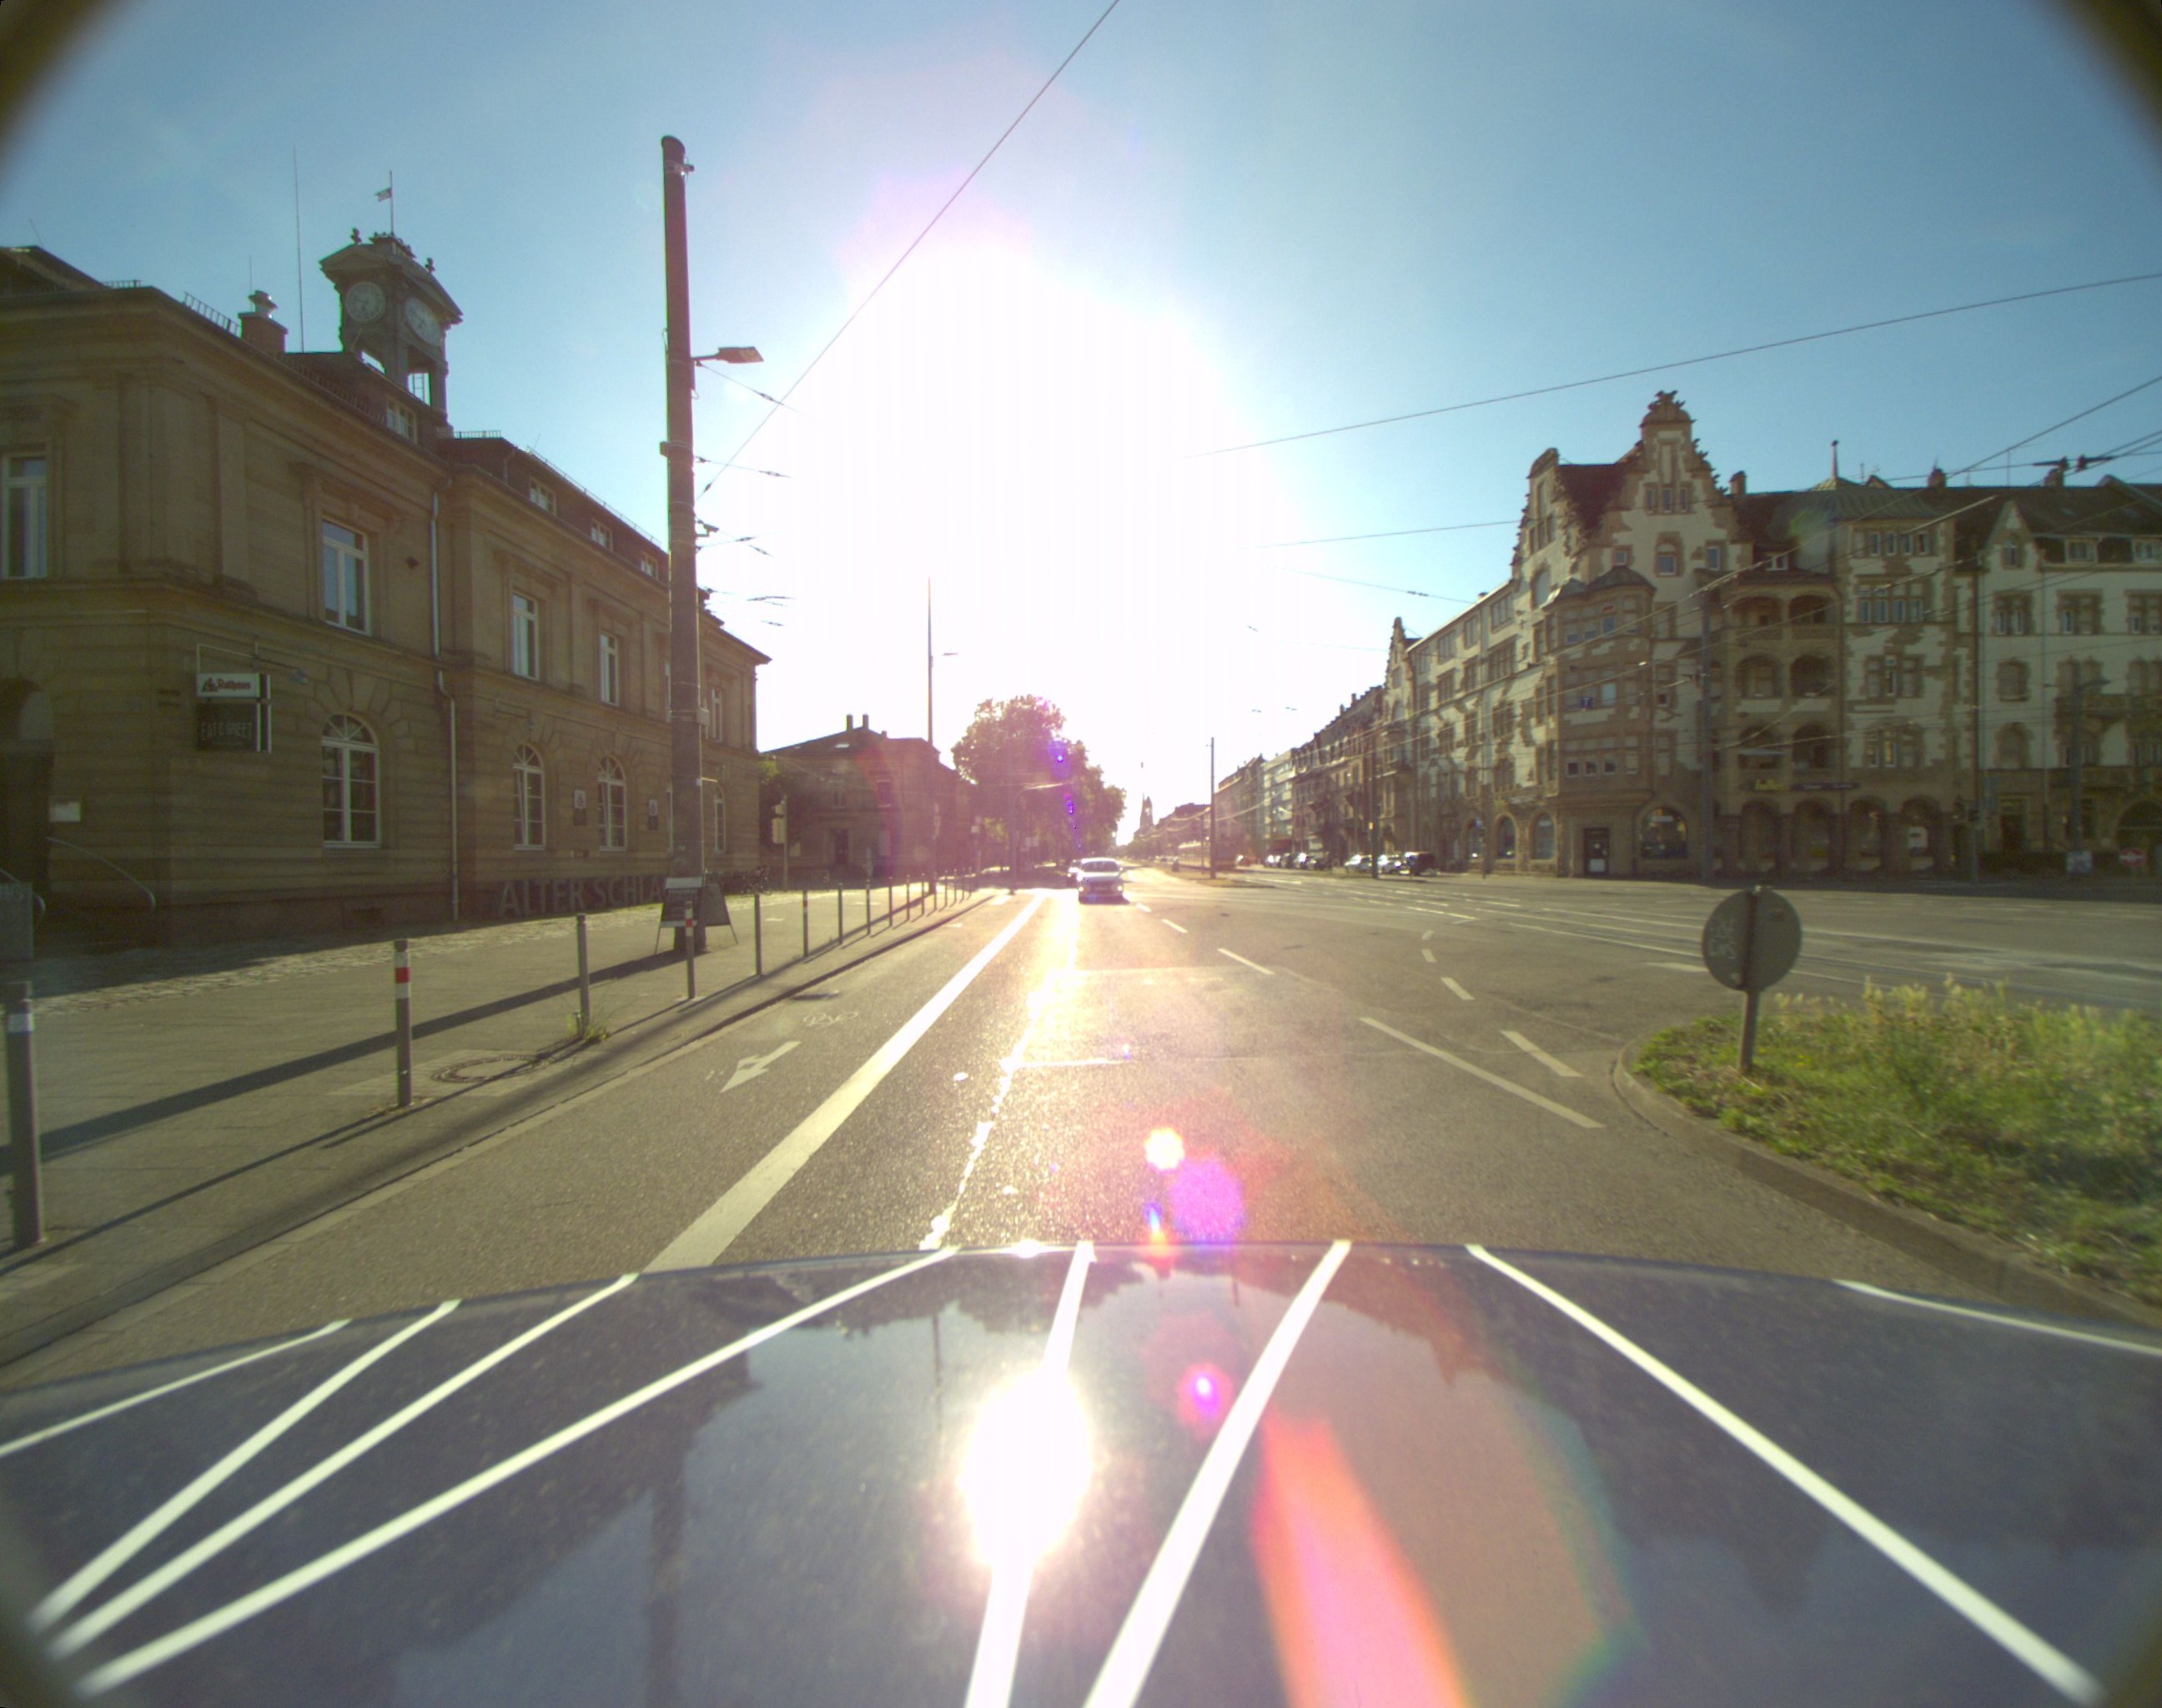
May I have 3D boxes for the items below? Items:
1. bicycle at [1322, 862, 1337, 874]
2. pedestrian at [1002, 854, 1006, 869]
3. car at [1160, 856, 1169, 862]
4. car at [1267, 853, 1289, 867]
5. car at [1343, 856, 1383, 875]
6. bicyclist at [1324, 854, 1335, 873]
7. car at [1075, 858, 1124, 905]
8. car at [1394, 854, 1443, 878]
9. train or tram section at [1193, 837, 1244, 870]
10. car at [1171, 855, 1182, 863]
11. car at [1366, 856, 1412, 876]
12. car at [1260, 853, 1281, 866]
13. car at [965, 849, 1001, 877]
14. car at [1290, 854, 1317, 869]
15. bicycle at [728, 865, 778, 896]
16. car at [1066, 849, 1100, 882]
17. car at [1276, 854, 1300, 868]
[{"bbox_3d":[21.721,1.190,66.451,0.607,0.996,2.069,-1,0,-1],"label":"bicycle"},{"bbox_3d":[-8.476,0.787,83.576,0.364,1.635,0.390,-1,0,2],"label":"pedestrian"},{"bbox_3d":[22.909,1.332,208.526,1.780,1.660,4.000,-1,0,0],"label":"car"},{"bbox_3d":[24.276,0.728,93.687,1.741,1.516,4.000,-2,0,1],"label":"car"},{"bbox_3d":[24.132,0.935,65.129,1.741,1.516,3.999,-2,0,-3],"label":"car"},{"bbox_3d":[21.733,0.827,66.489,0.683,1.609,0.630,-1,0,-2],"label":"bicyclist"},{"bbox_3d":[0.668,0.943,27.974,1.649,1.555,3.666,-2,0,1],"label":"car"},{"bbox_3d":[24.105,0.828,54.422,1.780,1.660,4.000,-1,0,0],"label":"car"},{"bbox_3d":[15.486,0.061,87.423,2.781,3.378,19.477,-1,-1,1],"label":"train or tram section"},{"bbox_3d":[20.563,1.074,164.145,1.780,1.660,4.000,-1,0,0],"label":"car"},{"bbox_3d":[24.161,0.920,59.725,1.727,1.467,4.432,-1,0,-1],"label":"car"},{"bbox_3d":[24.477,0.690,98.283,1.741,1.516,4.000,-2,0,1],"label":"car"},{"bbox_3d":[-7.290,0.635,56.957,1.833,2.034,4.001,-1,1,5],"label":"car"},{"bbox_3d":[24.031,0.816,82.236,1.741,1.516,4.000,-2,0,1],"label":"car"},{"bbox_3d":[-12.829,1.040,29.750,1.650,1.174,0.690,0,0,-1],"label":"bicycle"},{"bbox_3d":[0.155,0.572,39.792,1.649,1.555,3.666,-2,0,1],"label":"car"},{"bbox_3d":[24.016,0.772,88.395,1.741,1.516,4.000,-2,0,1],"label":"car"}]
